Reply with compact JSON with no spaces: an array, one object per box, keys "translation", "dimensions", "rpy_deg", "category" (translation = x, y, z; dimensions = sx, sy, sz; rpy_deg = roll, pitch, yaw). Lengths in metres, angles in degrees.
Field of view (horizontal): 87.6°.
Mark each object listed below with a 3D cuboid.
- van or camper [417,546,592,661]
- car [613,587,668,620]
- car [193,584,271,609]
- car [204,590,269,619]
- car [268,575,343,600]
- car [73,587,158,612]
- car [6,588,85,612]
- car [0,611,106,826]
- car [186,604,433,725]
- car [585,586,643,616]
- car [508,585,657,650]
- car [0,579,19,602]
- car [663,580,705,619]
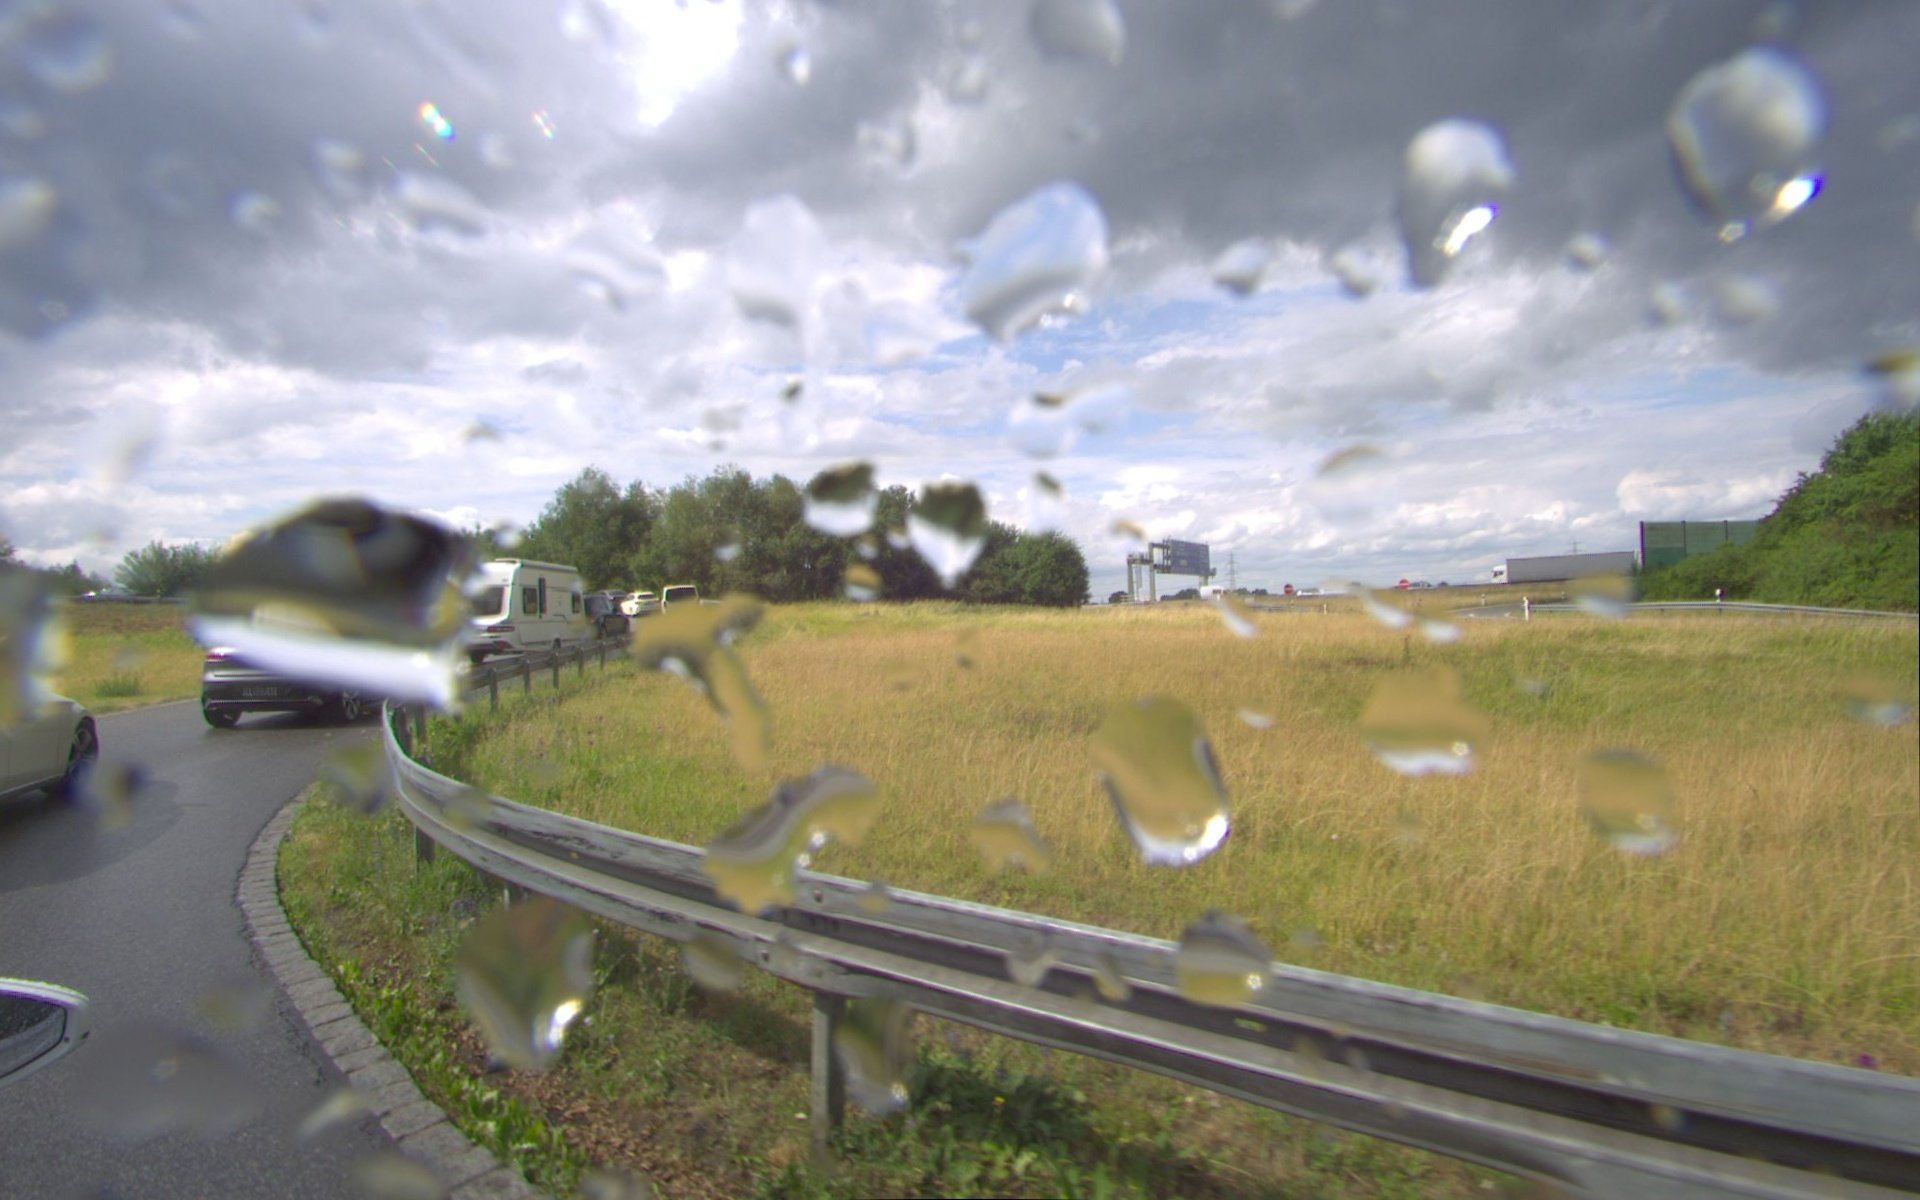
[{"translation":[-12.097,0.127,27.186],"dimensions":[2.391,2.765,6.001],"rpy_deg":[0,-1,-4],"category":"van or camper"},{"translation":[-19.717,0.269,61.671],"dimensions":[1.974,1.885,5.026],"rpy_deg":[2,-2,-33],"category":"car"},{"translation":[-61.352,-0.312,84.443],"dimensions":[4.959,1.886,2.000],"rpy_deg":[-2,0,-3],"category":"car"},{"translation":[-60.996,0.376,84.454],"dimensions":[3.923,2.038,2.001],"rpy_deg":[-6,-2,-2],"category":"car"},{"translation":[-55.057,-1.052,84.323],"dimensions":[4.959,1.886,2.000],"rpy_deg":[-2,0,0],"category":"car"},{"translation":[-69.871,-0.008,82.911],"dimensions":[4.962,1.886,1.999],"rpy_deg":[-2,0,-10],"category":"car"},{"translation":[-76.814,0.019,84.172],"dimensions":[4.431,1.886,1.996],"rpy_deg":[-2,0,-17],"category":"car"},{"translation":[-7.770,0.854,6.876],"dimensions":[1.893,1.527,4.575],"rpy_deg":[-1,0,-28],"category":"car"},{"translation":[-9.604,0.887,15.182],"dimensions":[1.691,1.544,3.998],"rpy_deg":[-1,-1,-10],"category":"car"},{"translation":[-24.036,0.078,69.507],"dimensions":[1.979,1.886,5.012],"rpy_deg":[-2,-1,-42],"category":"car"},{"translation":[-12.152,0.538,32.805],"dimensions":[2.389,1.951,5.760],"rpy_deg":[0,0,4],"category":"car"},{"translation":[-84.208,-0.715,85.918],"dimensions":[4.959,1.886,2.000],"rpy_deg":[-2,0,-1],"category":"car"},{"translation":[-14.500,0.030,52.465],"dimensions":[1.964,1.885,5.049],"rpy_deg":[-2,-1,-17],"category":"car"}]
